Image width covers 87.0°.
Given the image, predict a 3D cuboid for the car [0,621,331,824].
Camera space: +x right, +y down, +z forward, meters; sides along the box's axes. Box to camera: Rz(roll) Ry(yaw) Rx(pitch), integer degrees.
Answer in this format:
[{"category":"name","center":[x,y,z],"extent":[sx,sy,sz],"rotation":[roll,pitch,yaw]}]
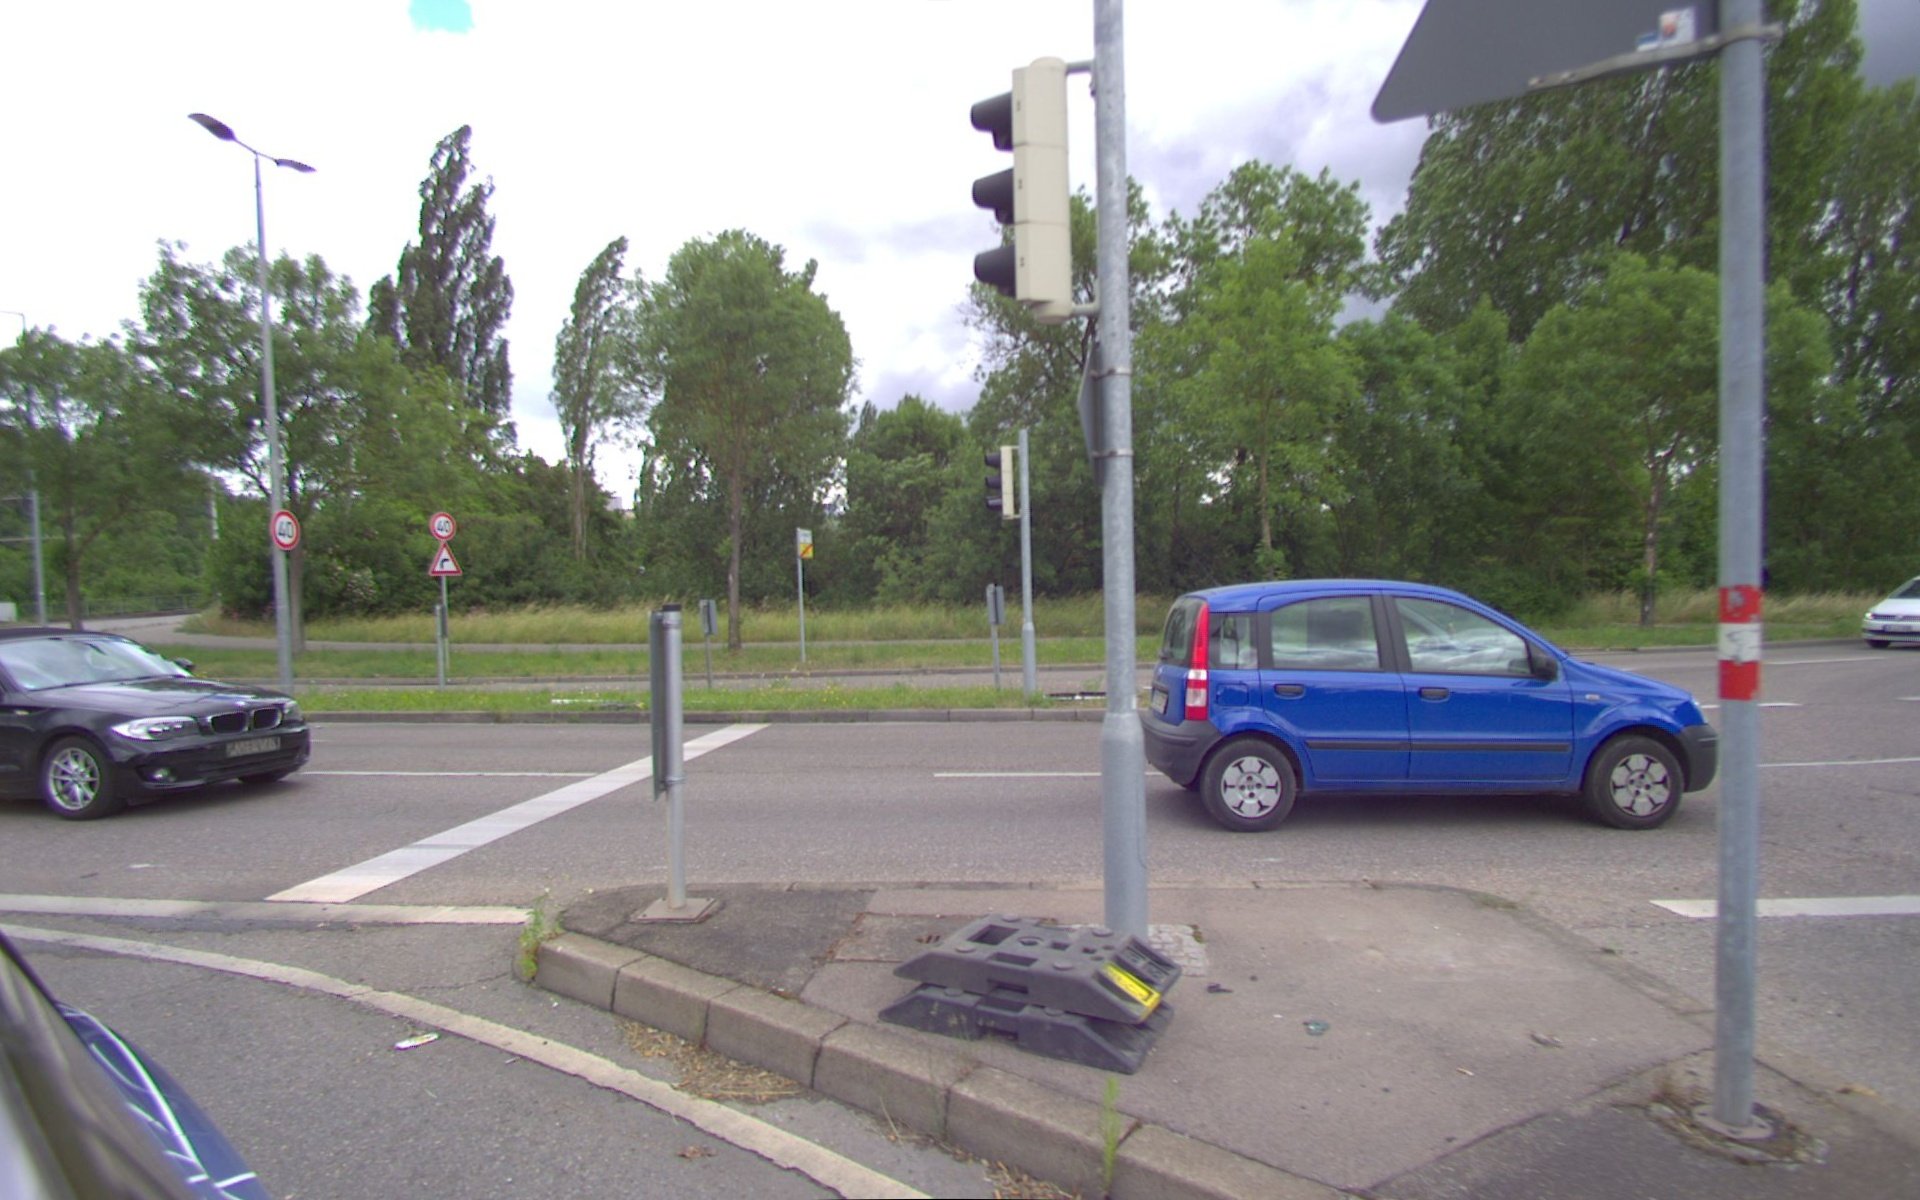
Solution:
[{"category":"car","center":[-7.449,0.917,8.201],"extent":[4.041,1.378,1.563],"rotation":[-2,-1,12]}]

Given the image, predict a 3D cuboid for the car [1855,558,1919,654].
[{"category":"car","center":[21.347,0.066,21.777],"extent":[4.251,1.772,2.089],"rotation":[-5,4,-33]}]

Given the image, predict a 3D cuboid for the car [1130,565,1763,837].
[{"category":"car","center":[2.912,0.593,6.614],"extent":[3.335,1.519,1.547],"rotation":[-1,0,3]}]
